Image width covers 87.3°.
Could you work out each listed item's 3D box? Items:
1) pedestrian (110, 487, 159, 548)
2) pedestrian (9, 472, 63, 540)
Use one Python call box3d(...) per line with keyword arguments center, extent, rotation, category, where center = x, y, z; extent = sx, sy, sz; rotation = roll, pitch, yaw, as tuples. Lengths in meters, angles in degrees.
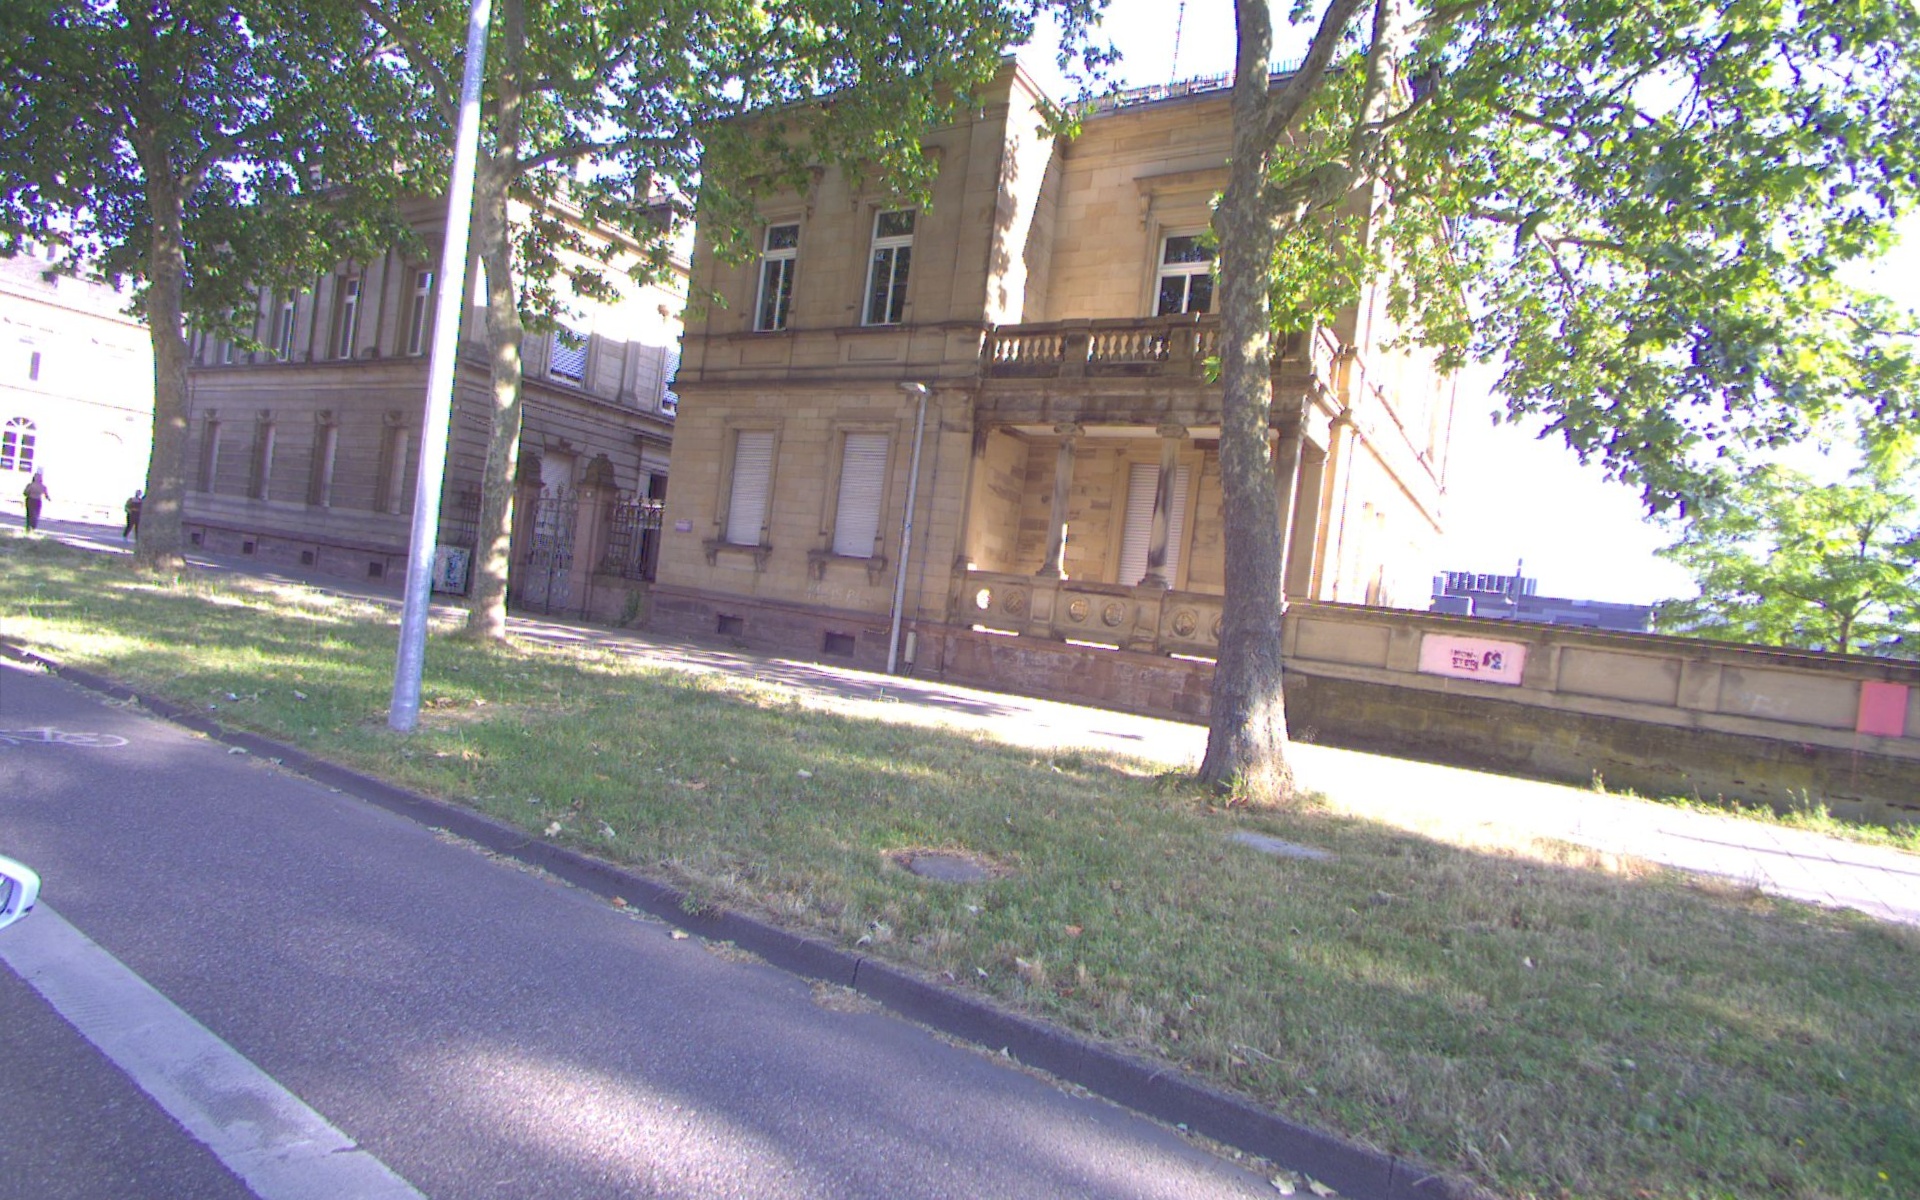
box3d(center=(-24.242, -2.421, 29.542), extent=(0.970, 1.626, 0.770), rotation=(7, 1, 34), category="pedestrian")
box3d(center=(-25.538, -2.604, 27.809), extent=(1.025, 1.731, 0.770), rotation=(7, 1, 34), category="pedestrian")
